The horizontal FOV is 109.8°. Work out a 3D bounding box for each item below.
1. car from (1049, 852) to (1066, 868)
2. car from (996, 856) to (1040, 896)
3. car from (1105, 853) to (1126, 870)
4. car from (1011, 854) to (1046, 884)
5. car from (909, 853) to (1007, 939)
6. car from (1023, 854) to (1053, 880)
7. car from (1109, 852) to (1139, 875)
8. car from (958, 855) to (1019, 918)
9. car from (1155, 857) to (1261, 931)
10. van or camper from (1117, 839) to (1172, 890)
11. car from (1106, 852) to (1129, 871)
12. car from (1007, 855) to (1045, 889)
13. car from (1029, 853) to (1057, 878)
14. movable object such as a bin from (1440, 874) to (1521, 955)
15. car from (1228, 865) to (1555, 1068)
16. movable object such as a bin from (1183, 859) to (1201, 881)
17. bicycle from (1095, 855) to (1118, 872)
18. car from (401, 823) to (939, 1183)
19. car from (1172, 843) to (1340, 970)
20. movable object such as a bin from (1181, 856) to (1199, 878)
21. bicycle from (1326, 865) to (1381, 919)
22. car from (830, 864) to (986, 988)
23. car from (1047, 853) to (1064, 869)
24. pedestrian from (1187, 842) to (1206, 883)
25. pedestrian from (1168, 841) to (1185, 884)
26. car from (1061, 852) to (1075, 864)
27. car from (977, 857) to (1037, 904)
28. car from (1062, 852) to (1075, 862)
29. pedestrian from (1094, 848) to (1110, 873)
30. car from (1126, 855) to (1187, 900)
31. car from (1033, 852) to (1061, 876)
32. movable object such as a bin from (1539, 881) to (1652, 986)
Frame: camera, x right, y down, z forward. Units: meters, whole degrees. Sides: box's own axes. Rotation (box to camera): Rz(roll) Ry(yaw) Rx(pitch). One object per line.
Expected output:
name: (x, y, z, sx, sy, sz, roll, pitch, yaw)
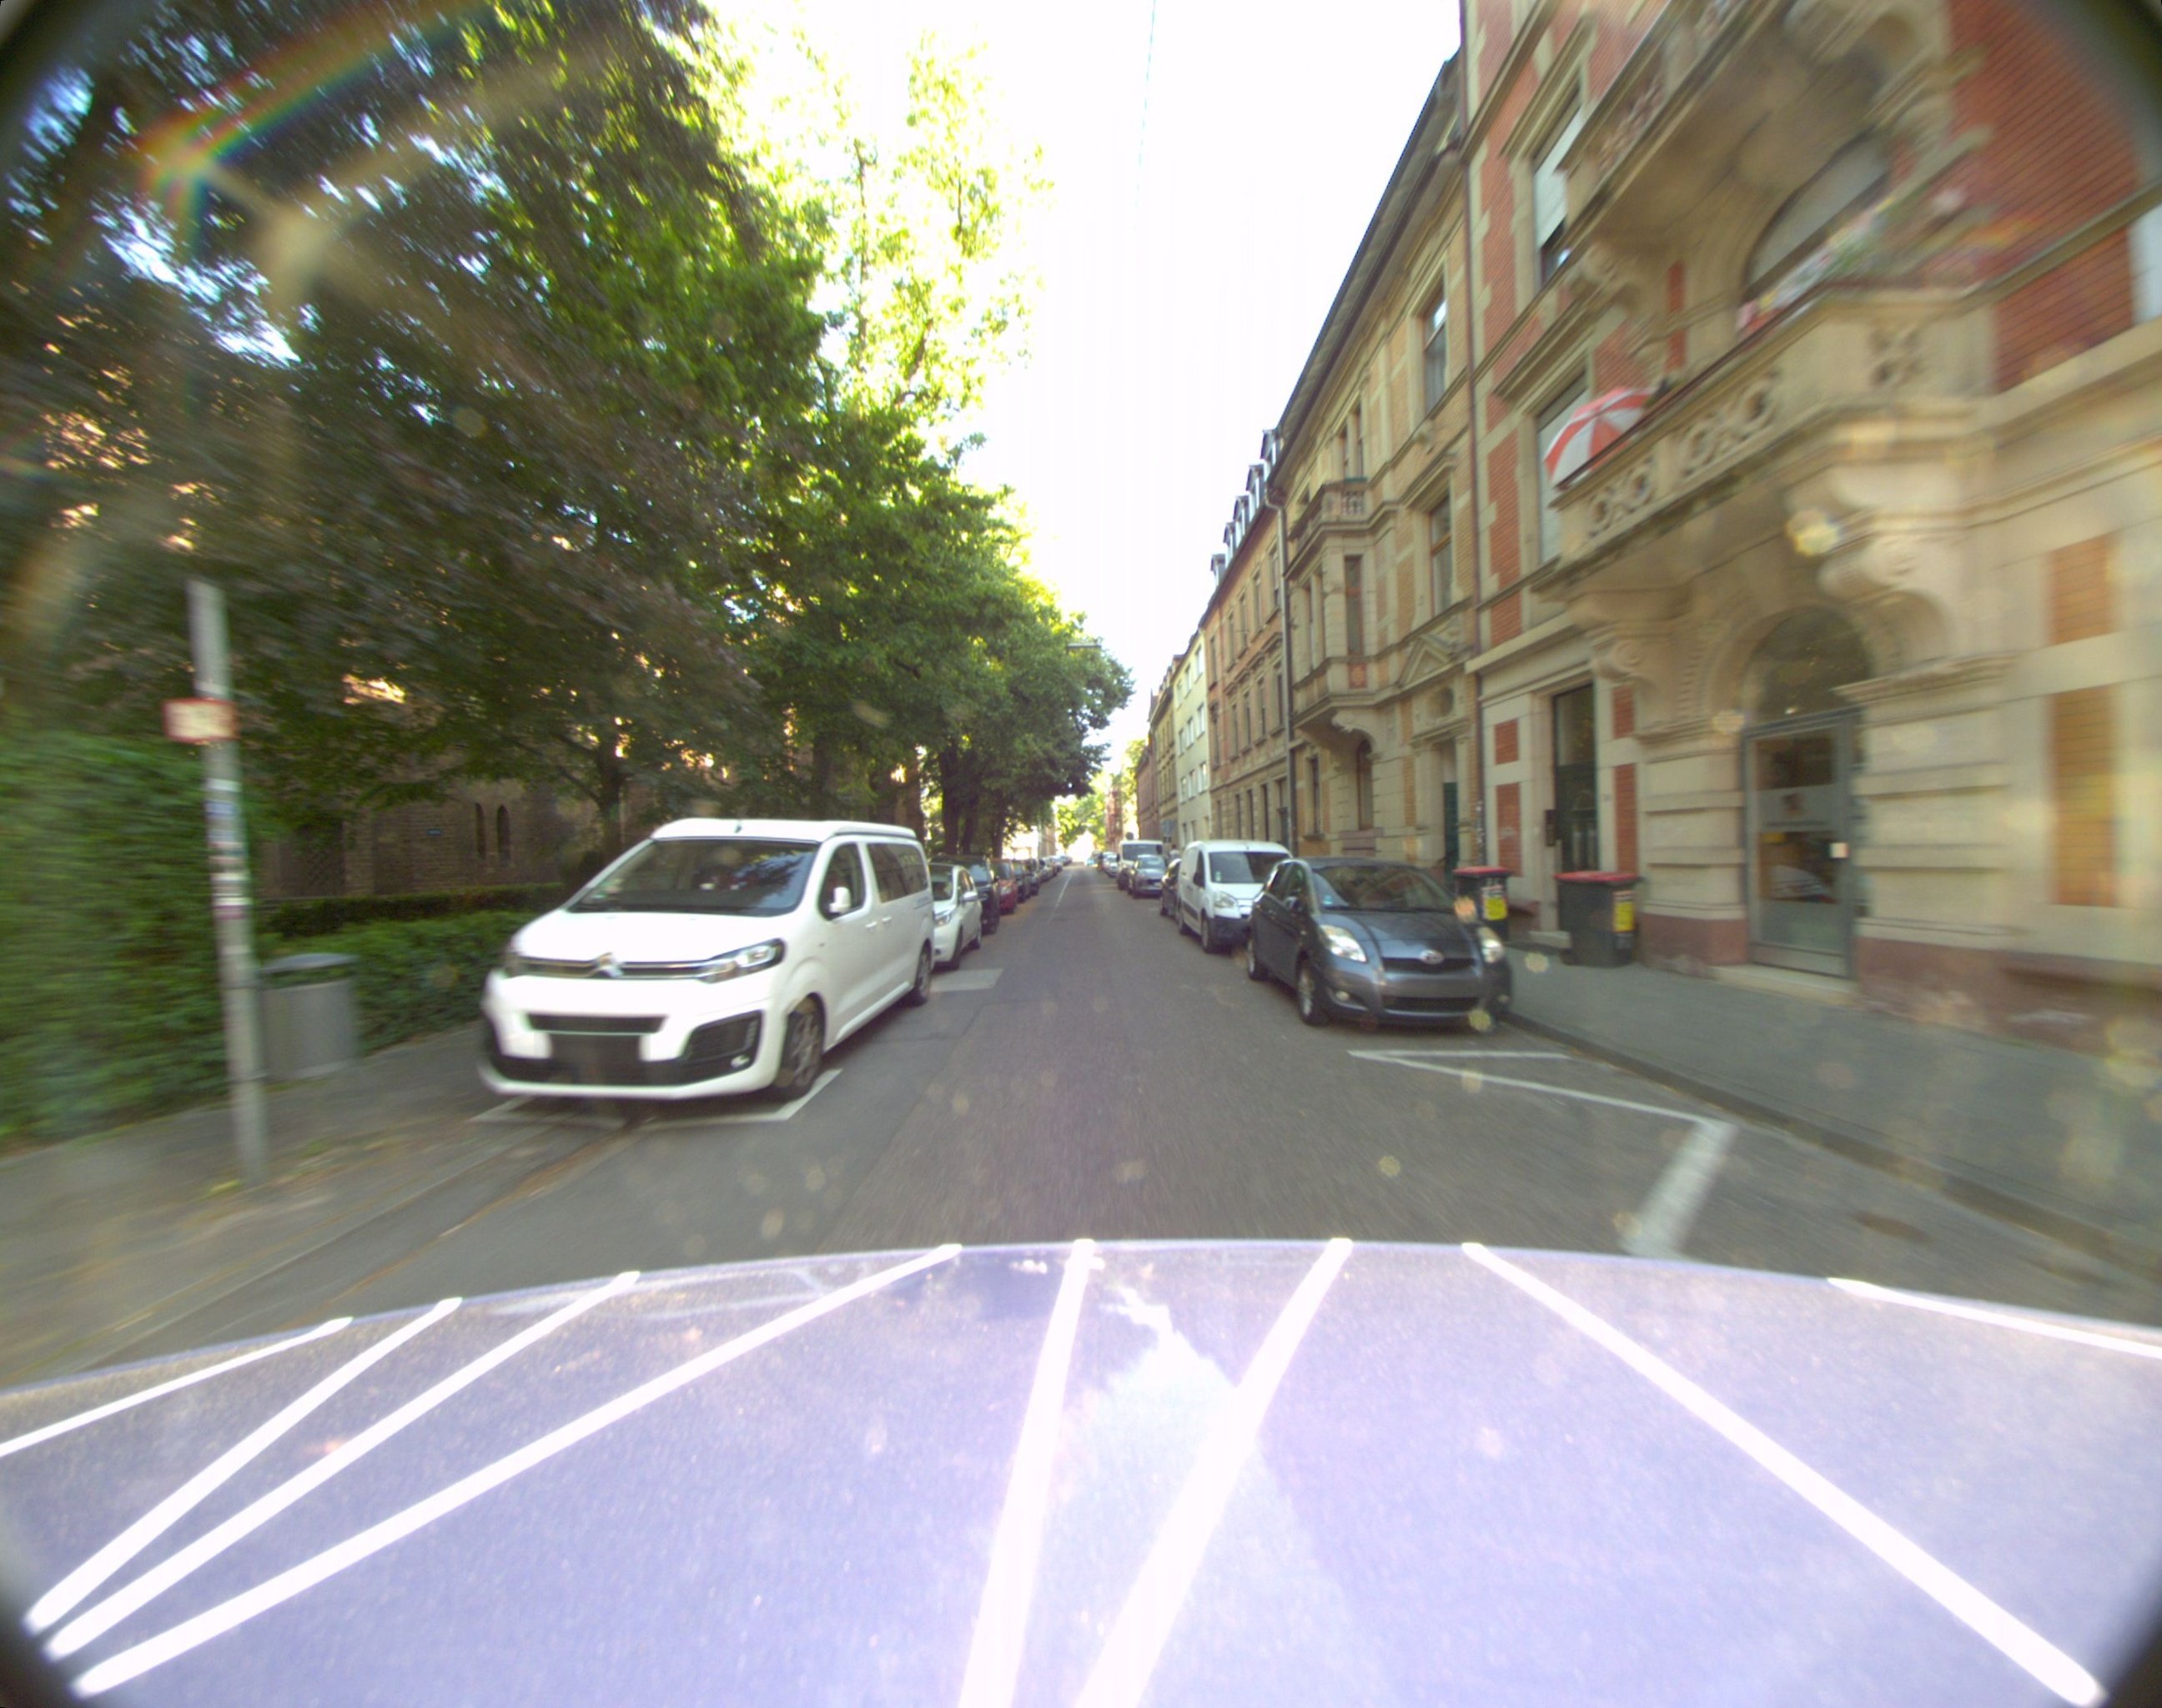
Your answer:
car: (-2.407, 0.621, 78.145, 1.713, 1.511, 3.830, 0, 1, -1)
car: (-2.661, 0.876, 32.704, 1.680, 1.433, 4.693, 3, 1, -4)
car: (2.995, 0.625, 65.823, 1.713, 1.409, 3.802, 0, 1, 1)
car: (-2.901, 0.806, 42.665, 1.603, 1.460, 3.563, 3, 1, 1)
car: (-2.689, 0.850, 17.469, 1.744, 1.594, 4.261, 3, 1, -4)
car: (-2.624, 0.774, 47.421, 1.603, 1.462, 3.868, 0, 1, 1)
car: (2.830, 0.628, 50.880, 1.735, 1.447, 4.521, 0, 0, 0)
car: (-2.725, 0.908, 23.031, 1.623, 1.615, 3.861, 3, 1, -5)
car: (2.874, 0.854, 18.061, 1.697, 1.505, 3.971, 0, 0, -3)
van or camper: (2.745, 0.427, 34.095, 2.182, 2.135, 5.154, 0, 0, 2)
car: (2.900, 0.600, 61.314, 1.713, 1.409, 3.802, 0, 1, 1)
car: (-2.746, 0.864, 38.580, 1.603, 1.496, 3.627, 3, 1, -1)
car: (-2.597, 0.749, 52.180, 1.603, 1.496, 3.720, 3, 1, 1)
movable object such as a bin: (5.663, 0.840, 10.808, 0.639, 1.035, 0.856, -4, 1, 0)
car: (2.758, 0.892, 7.795, 1.697, 1.472, 3.972, 0, 0, 0)
movable object such as a bin: (5.597, 0.804, 38.375, 0.802, 1.082, 0.666, -2, 2, 4)
bicycle: (1.973, 0.750, 58.974, 0.573, 1.236, 1.840, -6, 1, -44)
car: (-2.735, 0.809, 6.610, 1.919, 1.987, 4.792, 0, 0, 2)
car: (2.757, 0.737, 13.054, 1.836, 1.801, 4.571, 0, 0, 0)
movable object such as a bin: (5.613, 0.685, 39.163, 0.802, 1.082, 0.666, -2, 2, 4)
bicycle: (5.816, 0.793, 16.300, 0.572, 1.035, 1.546, -4, 1, 0)
car: (-2.579, 1.001, 12.227, 1.723, 1.562, 3.827, -2, 1, -2)
car: (-2.429, 0.686, 72.770, 1.625, 1.428, 4.002, 0, 1, -1)
pedestrian: (5.174, 0.376, 34.116, 0.703, 1.762, 0.649, -3, 2, 0)
pedestrian: (4.295, 0.364, 34.269, 0.580, 1.872, 0.904, -3, 2, 0)
car: (-1.841, 0.529, 106.837, 1.845, 1.643, 4.000, -1, 0, 0)
car: (-2.670, 0.914, 28.136, 1.622, 1.478, 3.776, 3, 1, 2)
car: (-2.252, 0.565, 138.837, 1.998, 1.659, 4.000, -2, 0, 2)
pedestrian: (1.597, 0.503, 58.616, 0.490, 1.793, 1.112, -5, 1, -43)
car: (2.683, 0.798, 27.796, 1.771, 1.505, 4.192, 0, 0, -1)
car: (-2.509, 0.732, 56.942, 1.668, 1.577, 4.100, 3, 1, 2)
movable object such as a bin: (5.717, 0.861, 8.491, 0.639, 1.035, 0.856, -4, 1, 0)
